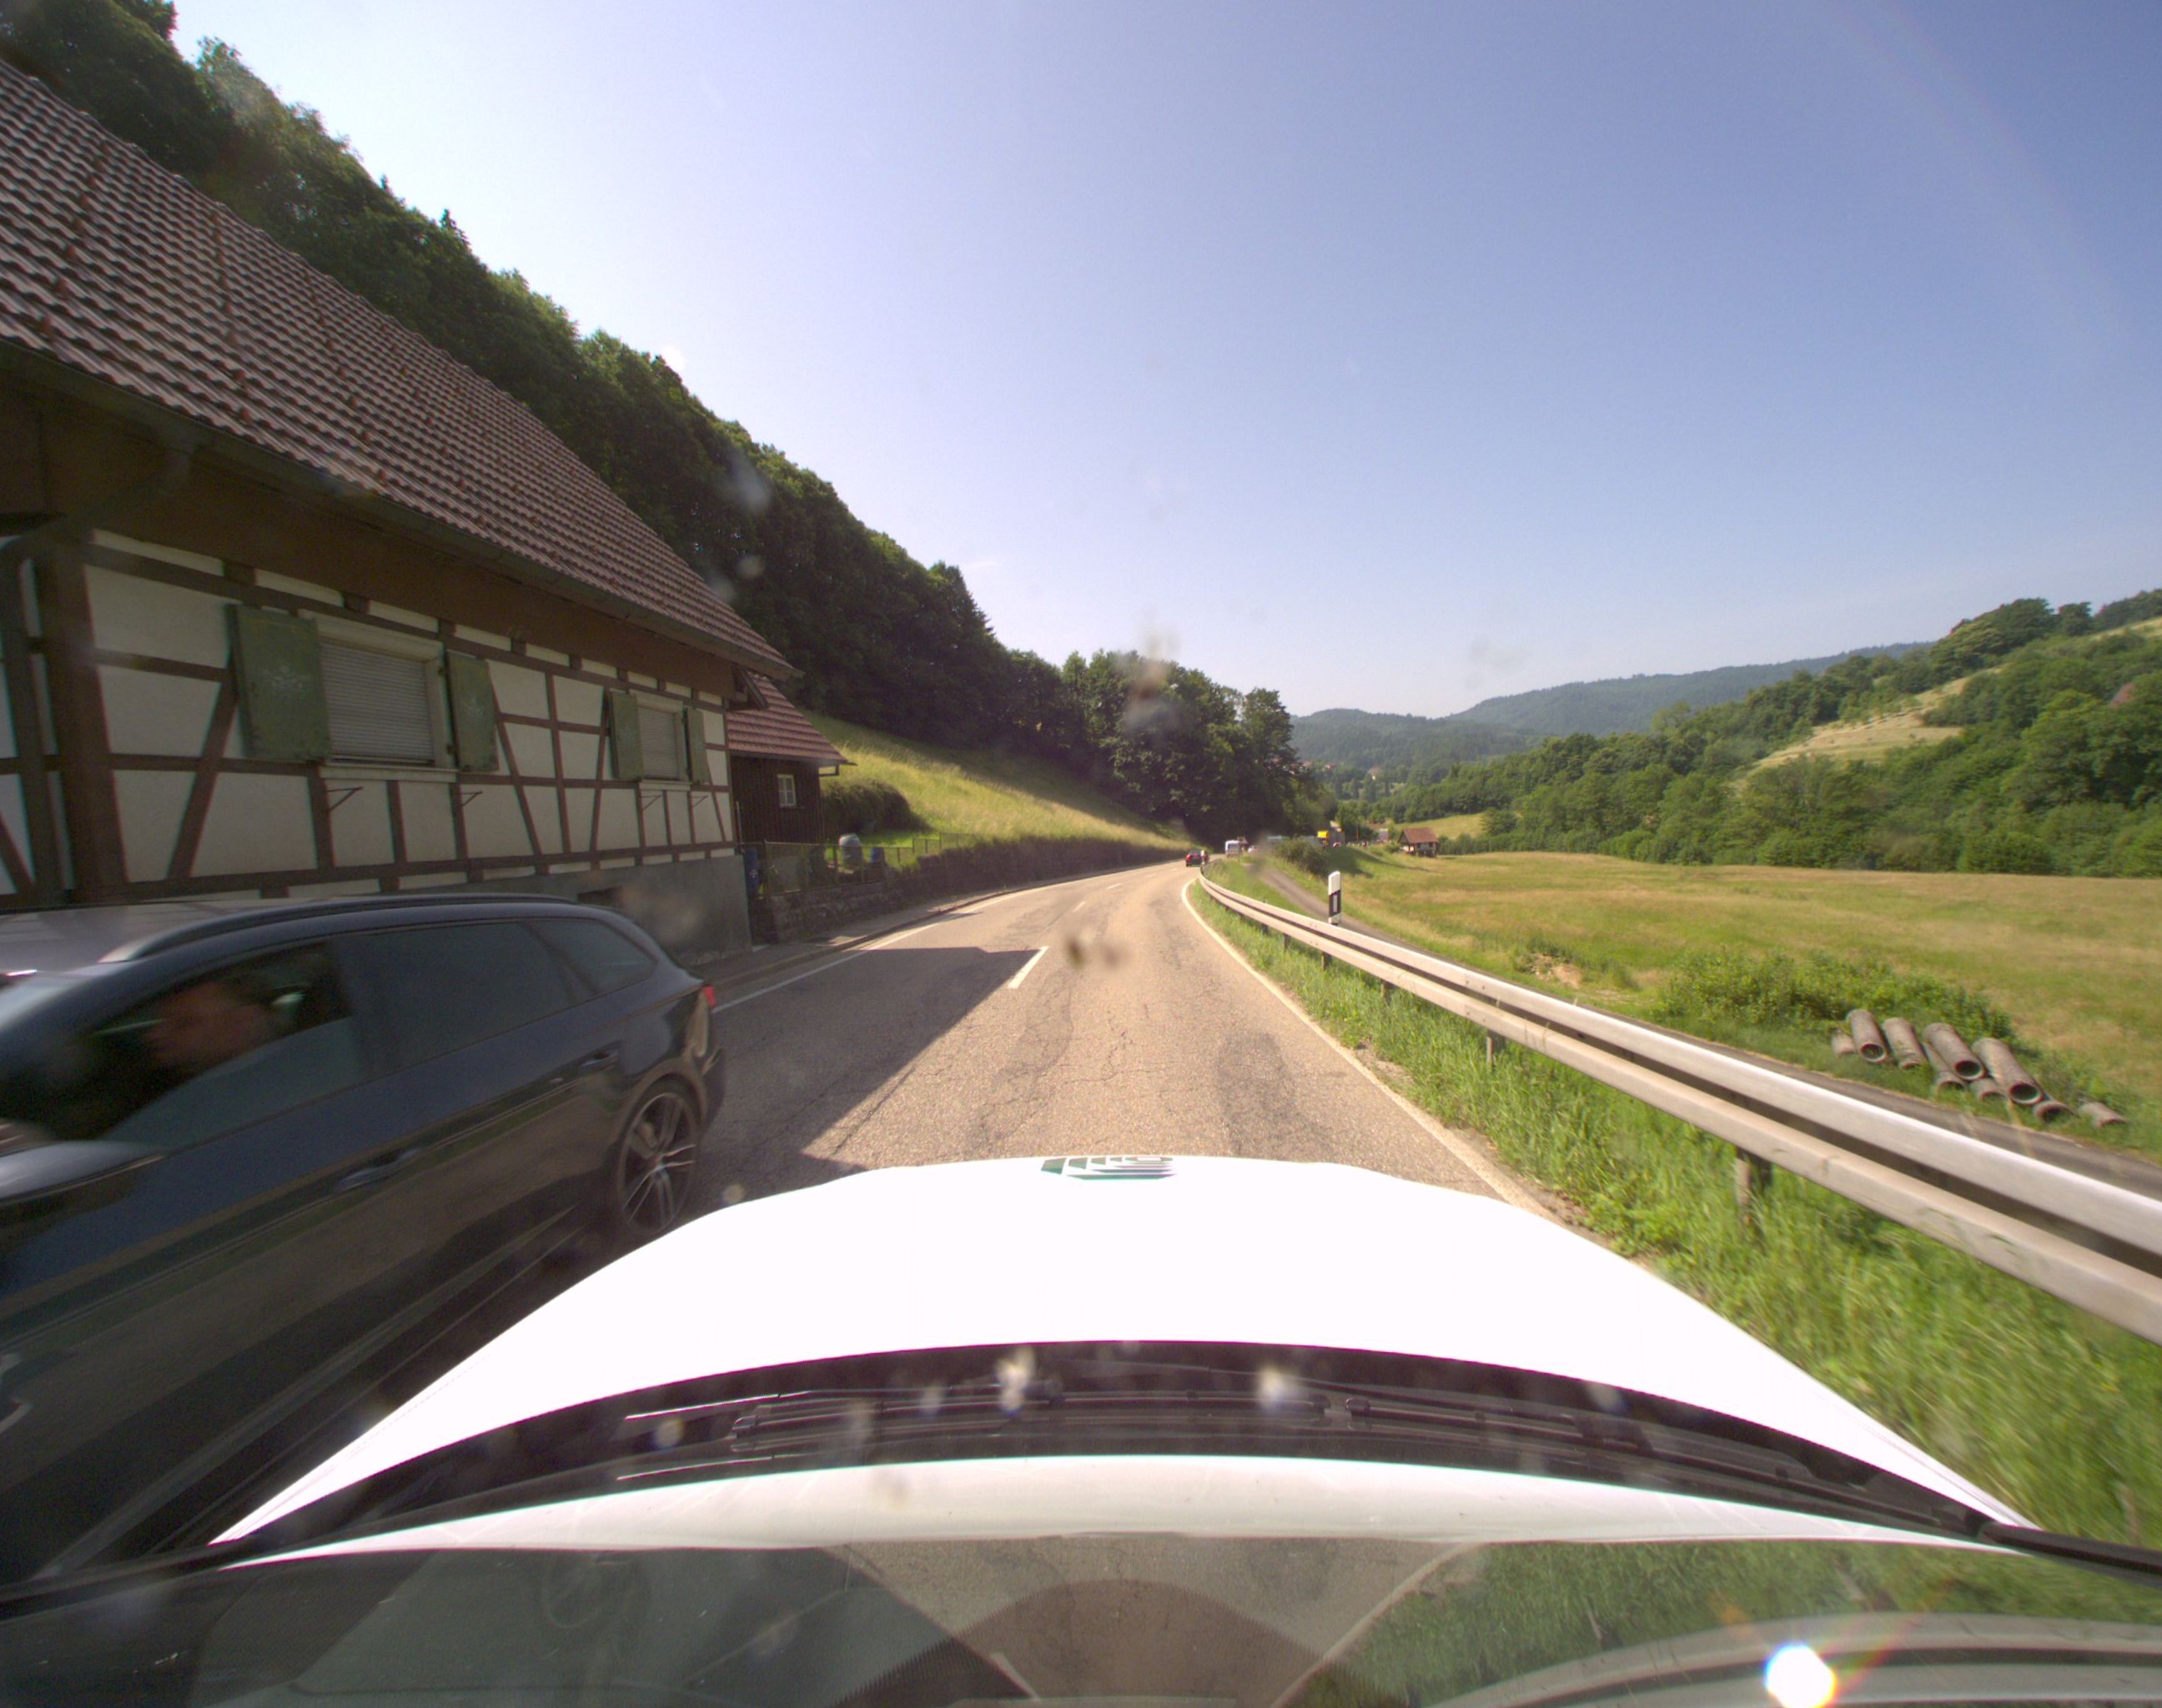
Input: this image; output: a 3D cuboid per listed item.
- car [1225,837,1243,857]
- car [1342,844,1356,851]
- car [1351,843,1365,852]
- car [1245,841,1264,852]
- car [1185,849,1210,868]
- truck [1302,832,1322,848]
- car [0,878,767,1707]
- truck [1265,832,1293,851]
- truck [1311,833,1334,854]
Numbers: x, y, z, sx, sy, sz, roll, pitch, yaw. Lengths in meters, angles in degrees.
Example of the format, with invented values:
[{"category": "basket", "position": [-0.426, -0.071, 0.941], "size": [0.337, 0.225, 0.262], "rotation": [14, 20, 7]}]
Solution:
[{"category": "car", "position": [19.739, -0.932, 105.068], "size": [1.979, 2.352, 4.933], "rotation": [-1, 2, 14]}, {"category": "car", "position": [56.934, -1.388, 172.769], "size": [1.888, 1.485, 4.026], "rotation": [2, 2, 32]}, {"category": "car", "position": [61.516, -1.521, 180.826], "size": [1.974, 1.925, 4.026], "rotation": [1, 2, 34]}, {"category": "car", "position": [25.776, -1.105, 120.921], "size": [1.976, 1.484, 4.023], "rotation": [1, 2, 23]}, {"category": "car", "position": [9.391, 0.355, 65.556], "size": [1.760, 1.335, 3.779], "rotation": [-1, 2, 11]}, {"category": "truck", "position": [43.456, -2.631, 153.096], "size": [2.216, 2.804, 6.271], "rotation": [0, 0, 30]}, {"category": "car", "position": [-2.559, 0.823, 2.061], "size": [1.758, 1.396, 4.147], "rotation": [-2, -1, 2]}, {"category": "truck", "position": [32.532, -2.054, 133.599], "size": [2.765, 2.997, 6.910], "rotation": [2, 2, 28]}, {"category": "truck", "position": [52.513, -2.378, 176.666], "size": [3.158, 4.396, 6.614], "rotation": [1, 2, 32]}]
